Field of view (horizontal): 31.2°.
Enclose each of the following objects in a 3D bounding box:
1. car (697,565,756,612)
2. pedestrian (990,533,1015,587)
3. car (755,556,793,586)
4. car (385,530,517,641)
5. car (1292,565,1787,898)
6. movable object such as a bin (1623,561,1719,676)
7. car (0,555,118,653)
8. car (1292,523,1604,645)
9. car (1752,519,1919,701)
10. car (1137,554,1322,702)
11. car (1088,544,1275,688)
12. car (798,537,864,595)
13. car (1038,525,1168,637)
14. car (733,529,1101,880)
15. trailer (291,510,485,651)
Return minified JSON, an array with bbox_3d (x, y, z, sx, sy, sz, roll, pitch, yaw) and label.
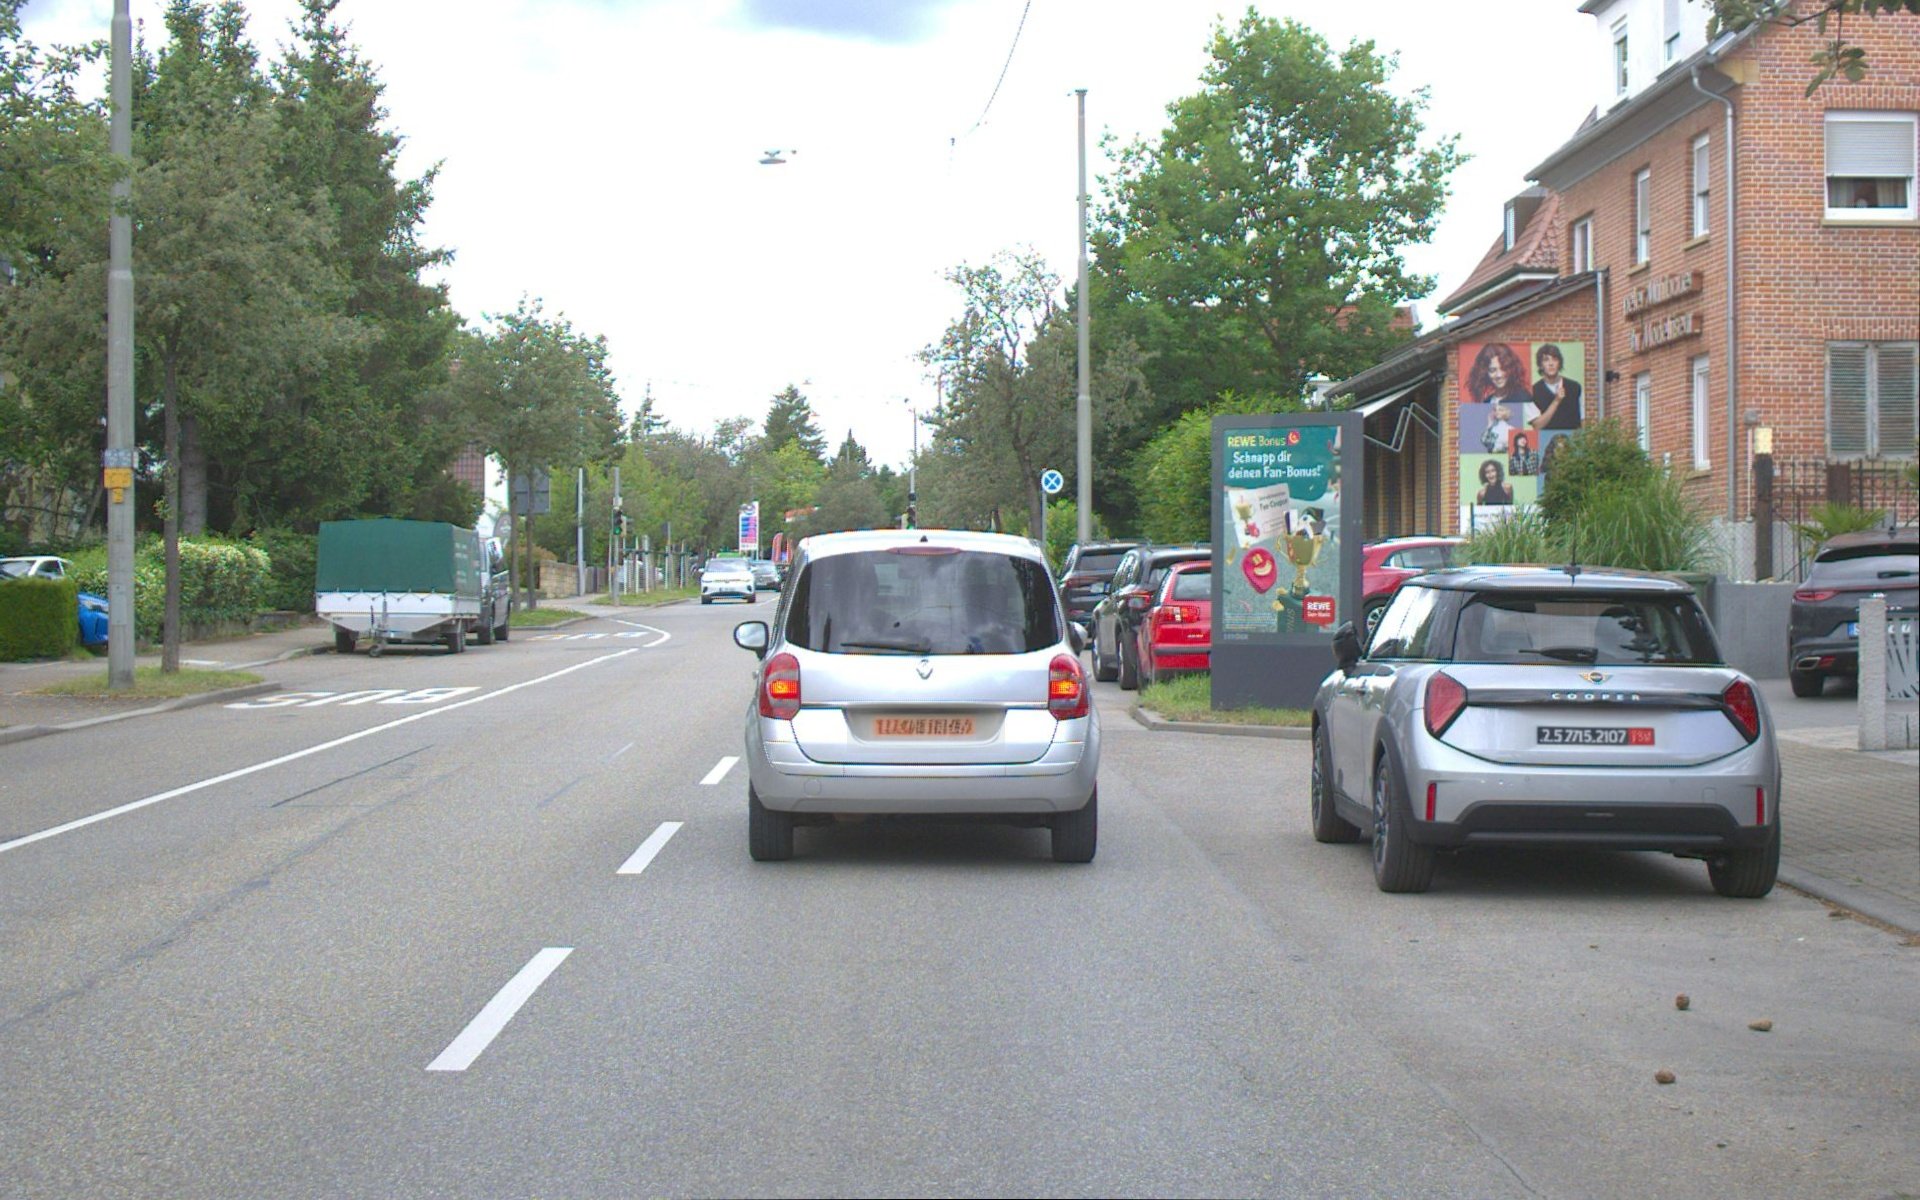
[{"bbox_3d":[-8.197,-0.399,120.382,1.905,1.612,4.001,1,0,-6],"label":"car"},{"bbox_3d":[1.290,-1.220,104.346,0.705,1.641,0.773,-1,1,-2],"label":"pedestrian"},{"bbox_3d":[-9.083,-1.404,167.915,1.721,1.406,4.000,1,0,-4],"label":"car"},{"bbox_3d":[-9.288,-0.254,63.043,1.887,1.915,4.562,1,0,-3],"label":"car"},{"bbox_3d":[2.623,0.554,16.413,1.650,1.378,4.000,1,0,0],"label":"car"},{"bbox_3d":[6.906,0.173,33.421,0.776,1.100,0.691,0,1,-2],"label":"movable object such as a bin"},{"bbox_3d":[-13.957,0.039,48.400,3.986,1.333,1.578,1,-1,-11],"label":"car"},{"bbox_3d":[6.939,-0.241,49.112,3.986,1.491,1.810,-3,1,-9],"label":"car"},{"bbox_3d":[8.301,0.006,30.342,1.820,1.376,4.475,-4,1,22],"label":"car"},{"bbox_3d":[2.710,0.249,35.234,1.662,1.388,3.668,-1,1,1],"label":"car"},{"bbox_3d":[2.500,0.141,39.680,1.662,1.559,4.099,0,1,-3],"label":"car"},{"bbox_3d":[-3.746,-0.988,100.373,1.829,1.670,3.574,0,1,-1],"label":"car"},{"bbox_3d":[2.302,-0.291,56.301,1.812,1.737,4.000,-1,0,-2],"label":"car"},{"bbox_3d":[-0.209,0.474,17.542,1.630,1.551,4.000,1,0,0],"label":"car"},{"bbox_3d":[-9.078,-0.289,55.062,2.312,2.079,5.873,1,0,-2],"label":"trailer"}]
